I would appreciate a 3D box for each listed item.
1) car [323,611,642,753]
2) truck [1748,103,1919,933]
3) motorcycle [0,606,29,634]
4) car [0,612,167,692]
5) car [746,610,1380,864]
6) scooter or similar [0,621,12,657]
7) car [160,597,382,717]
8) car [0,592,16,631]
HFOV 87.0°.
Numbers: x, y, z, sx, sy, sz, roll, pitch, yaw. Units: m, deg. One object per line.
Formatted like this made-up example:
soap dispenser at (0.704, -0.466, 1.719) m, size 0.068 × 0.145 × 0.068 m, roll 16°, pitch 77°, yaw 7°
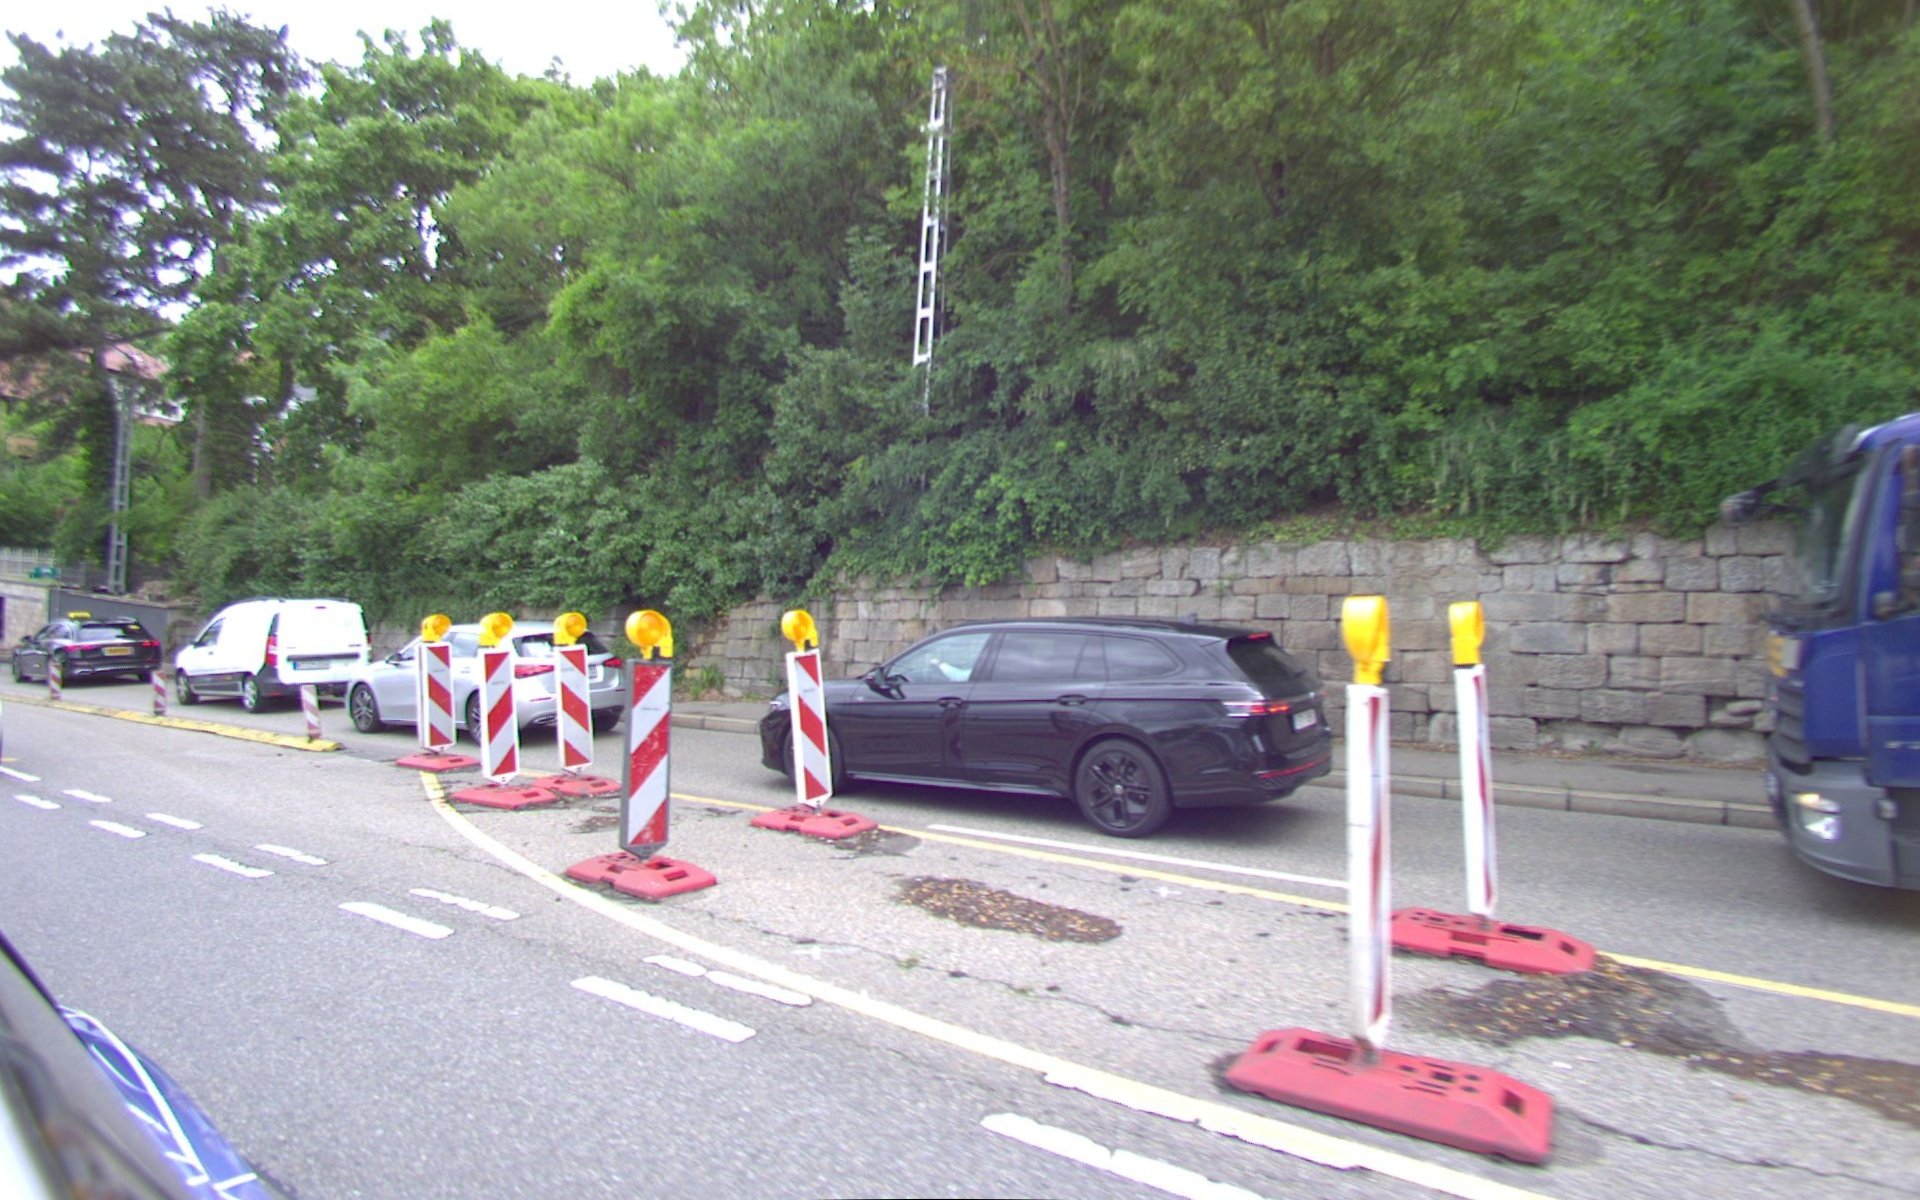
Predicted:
car at (-6.224, 0.923, 13.023) m, size 4.300 × 1.519 × 1.776 m, roll -1°, pitch 0°, yaw 34°
truck at (7.520, -0.371, 3.526) m, size 7.333 × 3.537 × 2.707 m, roll -1°, pitch -1°, yaw 35°
motorcycle at (-43.715, 0.914, 46.139) m, size 0.636 × 1.192 × 1.821 m, roll 5°, pitch 3°, yaw 37°
car at (-19.977, 1.109, 23.007) m, size 4.643 × 1.604 × 1.815 m, roll -1°, pitch 0°, yaw 35°
car at (0.619, 0.830, 8.001) m, size 4.734 × 1.452 × 1.756 m, roll -1°, pitch 0°, yaw 35°
scooter or similar at (-34.019, 1.371, 35.426) m, size 0.488 × 1.242 × 1.214 m, roll -1°, pitch 0°, yaw 1°
car at (-11.869, 0.885, 17.344) m, size 4.333 × 1.804 × 1.787 m, roll -1°, pitch 0°, yaw 36°
car at (-45.663, 0.496, 47.292) m, size 3.579 × 1.616 × 1.555 m, roll 4°, pitch 3°, yaw 34°
